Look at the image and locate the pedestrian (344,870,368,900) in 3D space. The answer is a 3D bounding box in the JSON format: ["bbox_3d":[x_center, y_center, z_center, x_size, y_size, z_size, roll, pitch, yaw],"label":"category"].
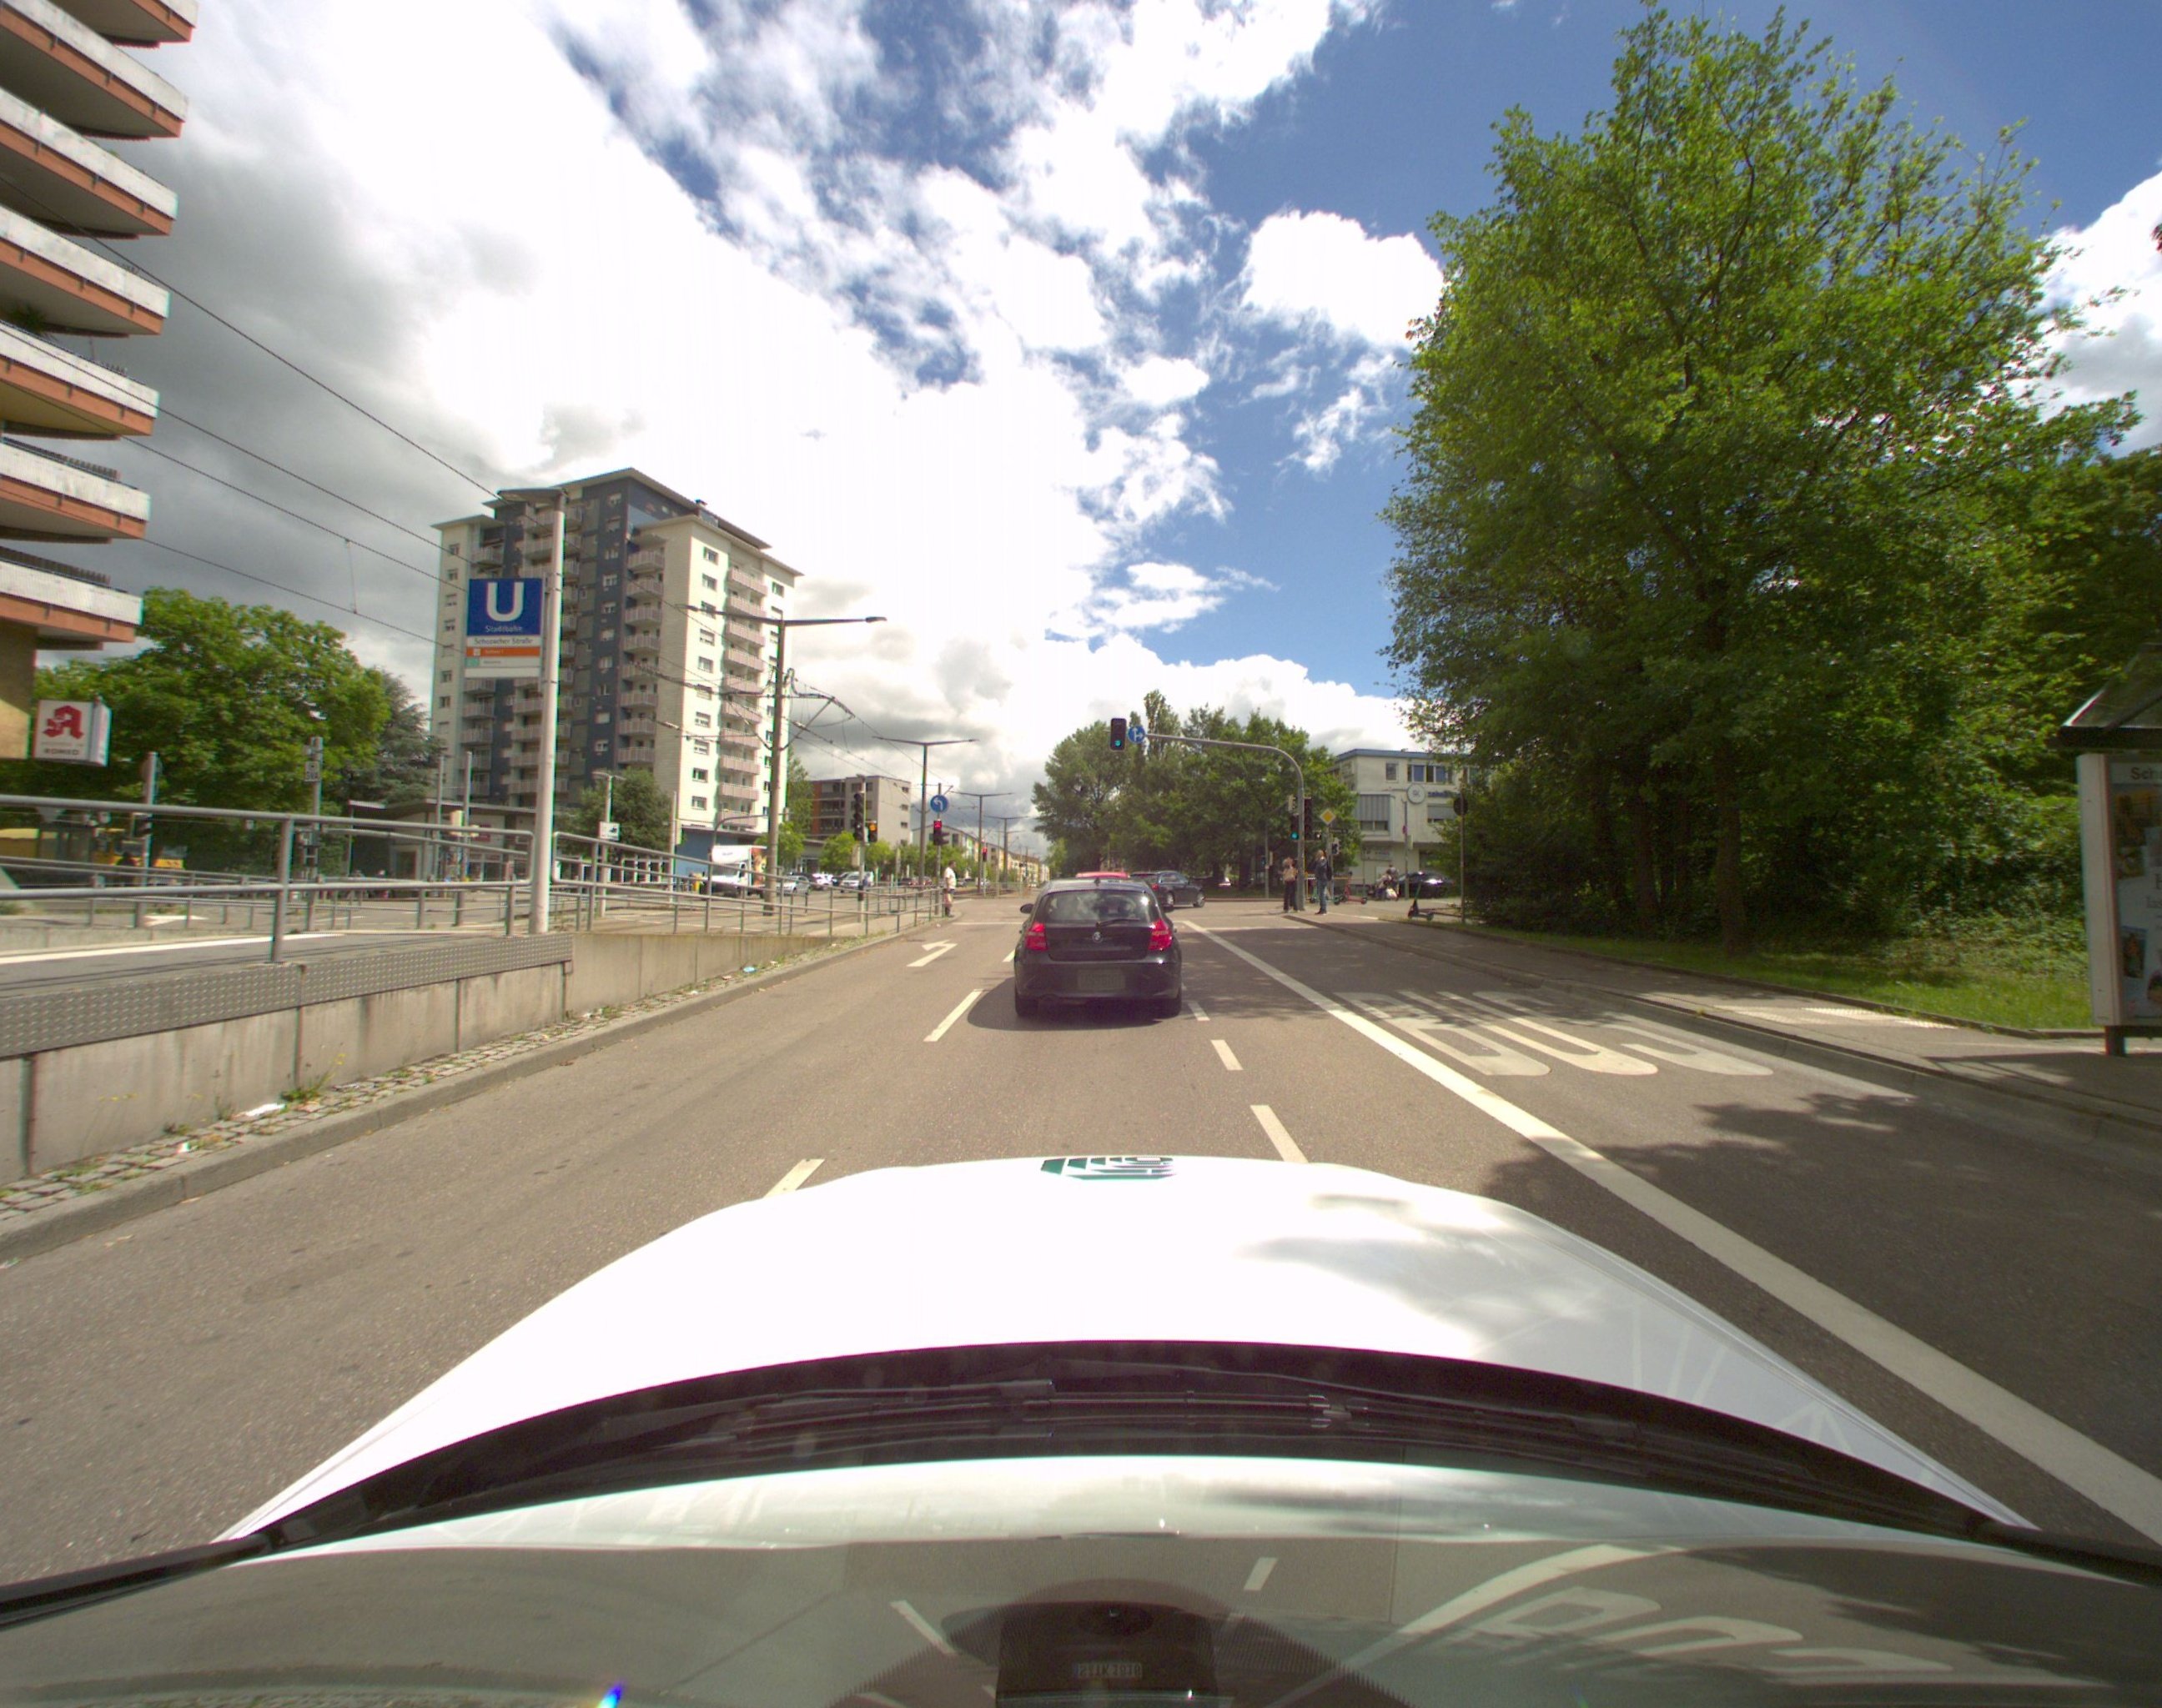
[{"bbox_3d":[-35.207,1.508,39.577,0.557,1.468,0.662,0,-1,-6],"label":"pedestrian"}]

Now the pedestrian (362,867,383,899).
[{"bbox_3d":[-37.429,1.538,43.026,0.365,1.671,0.718,0,-2,5],"label":"pedestrian"}]

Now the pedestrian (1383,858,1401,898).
[{"bbox_3d":[13.609,1.053,35.654,0.651,1.713,0.464,-1,-1,28],"label":"pedestrian"}]

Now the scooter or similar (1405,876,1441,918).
[{"bbox_3d":[10.699,1.331,25.478,0.886,1.230,0.455,4,-1,2],"label":"scooter or similar"}]

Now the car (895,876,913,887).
[{"bbox_3d":[-23.849,3.719,109.818,1.586,1.474,3.775,0,-1,1],"label":"car"}]

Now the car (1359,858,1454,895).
[{"bbox_3d":[18.014,1.245,45.206,4.528,2.014,1.996,0,-1,-6],"label":"car"}]

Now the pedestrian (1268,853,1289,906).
[{"bbox_3d":[6.668,0.865,27.464,0.632,1.766,0.519,0,-1,8],"label":"pedestrian"}]

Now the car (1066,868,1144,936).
[{"bbox_3d":[0.559,1.041,18.786,1.632,1.400,3.421,0,-1,2],"label":"car"}]

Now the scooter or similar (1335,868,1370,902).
[{"bbox_3d":[10.291,1.183,30.923,1.145,1.272,0.556,1,-1,4],"label":"scooter or similar"}]

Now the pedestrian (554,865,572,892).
[{"bbox_3d":[-39.668,1.857,62.344,0.851,2.014,0.852,-1,-1,29],"label":"pedestrian"}]

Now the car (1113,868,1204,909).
[{"bbox_3d":[3.037,1.263,30.989,1.883,1.422,4.565,-1,-1,27],"label":"car"}]

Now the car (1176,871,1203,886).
[{"bbox_3d":[11.649,2.611,87.607,1.862,1.662,3.987,0,-1,-9],"label":"car"}]

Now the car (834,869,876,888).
[{"bbox_3d":[-24.156,2.644,87.070,3.944,1.975,1.637,1,-1,-40],"label":"car"}]

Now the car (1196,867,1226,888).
[{"bbox_3d":[12.214,2.214,76.747,1.724,1.871,3.990,0,-1,-7],"label":"car"}]

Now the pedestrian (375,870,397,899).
[{"bbox_3d":[-35.849,1.544,42.022,0.557,1.480,0.663,0,-1,-1],"label":"pedestrian"}]

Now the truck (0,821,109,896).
[{"bbox_3d":[-34.552,0.142,25.965,4.262,2.290,2.352,0,-1,2],"label":"truck"}]

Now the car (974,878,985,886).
[{"bbox_3d":[-19.038,5.299,153.085,1.646,1.534,3.871,0,-1,0],"label":"car"}]

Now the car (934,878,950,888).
[{"bbox_3d":[-20.466,4.269,120.111,1.646,1.534,3.871,0,-1,0],"label":"car"}]

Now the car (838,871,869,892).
[{"bbox_3d":[-20.305,2.432,72.773,1.586,1.756,3.775,0,-1,1],"label":"car"}]

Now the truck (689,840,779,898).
[{"bbox_3d":[-19.976,0.871,47.362,2.275,3.118,7.312,0,-1,-2],"label":"truck"}]

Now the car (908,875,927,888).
[{"bbox_3d":[-20.598,3.443,102.690,1.646,1.534,3.871,0,-1,0],"label":"car"}]

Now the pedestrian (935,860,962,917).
[{"bbox_3d":[-4.066,1.050,24.974,0.685,1.734,0.688,-1,-1,1],"label":"pedestrian"}]

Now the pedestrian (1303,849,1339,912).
[{"bbox_3d":[7.261,0.807,24.687,0.792,1.876,1.014,0,-2,2],"label":"pedestrian"}]

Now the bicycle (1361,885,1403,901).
[{"bbox_3d":[12.613,1.612,34.117,0.537,0.610,1.571,1,-1,-42],"label":"bicycle"}]

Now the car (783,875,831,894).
[{"bbox_3d":[-25.462,2.846,75.749,3.946,1.647,1.636,1,-1,-44],"label":"car"}]

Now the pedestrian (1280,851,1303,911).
[{"bbox_3d":[6.624,0.839,25.645,0.632,1.876,0.519,0,-1,8],"label":"pedestrian"}]

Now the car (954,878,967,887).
[{"bbox_3d":[-20.663,4.905,139.425,1.646,1.534,3.871,0,-1,0],"label":"car"}]

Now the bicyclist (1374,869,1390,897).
[{"bbox_3d":[12.607,1.227,34.121,0.505,1.157,0.395,1,-2,-42],"label":"bicyclist"}]

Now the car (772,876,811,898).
[{"bbox_3d":[-20.494,2.291,57.709,1.402,1.461,3.773,0,-1,0],"label":"car"}]

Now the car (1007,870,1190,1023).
[{"bbox_3d":[0.220,0.895,9.290,1.694,1.400,3.421,0,-1,2],"label":"car"}]

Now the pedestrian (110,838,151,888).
[{"bbox_3d":[-34.311,0.332,29.409,0.654,1.776,0.663,0,-1,2],"label":"pedestrian"}]

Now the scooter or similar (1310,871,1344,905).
[{"bbox_3d":[9.015,1.233,29.849,1.105,1.235,0.540,0,-1,4],"label":"scooter or similar"}]

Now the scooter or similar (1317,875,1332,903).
[{"bbox_3d":[9.521,1.366,31.856,0.543,1.064,1.267,-1,-1,16],"label":"scooter or similar"}]
